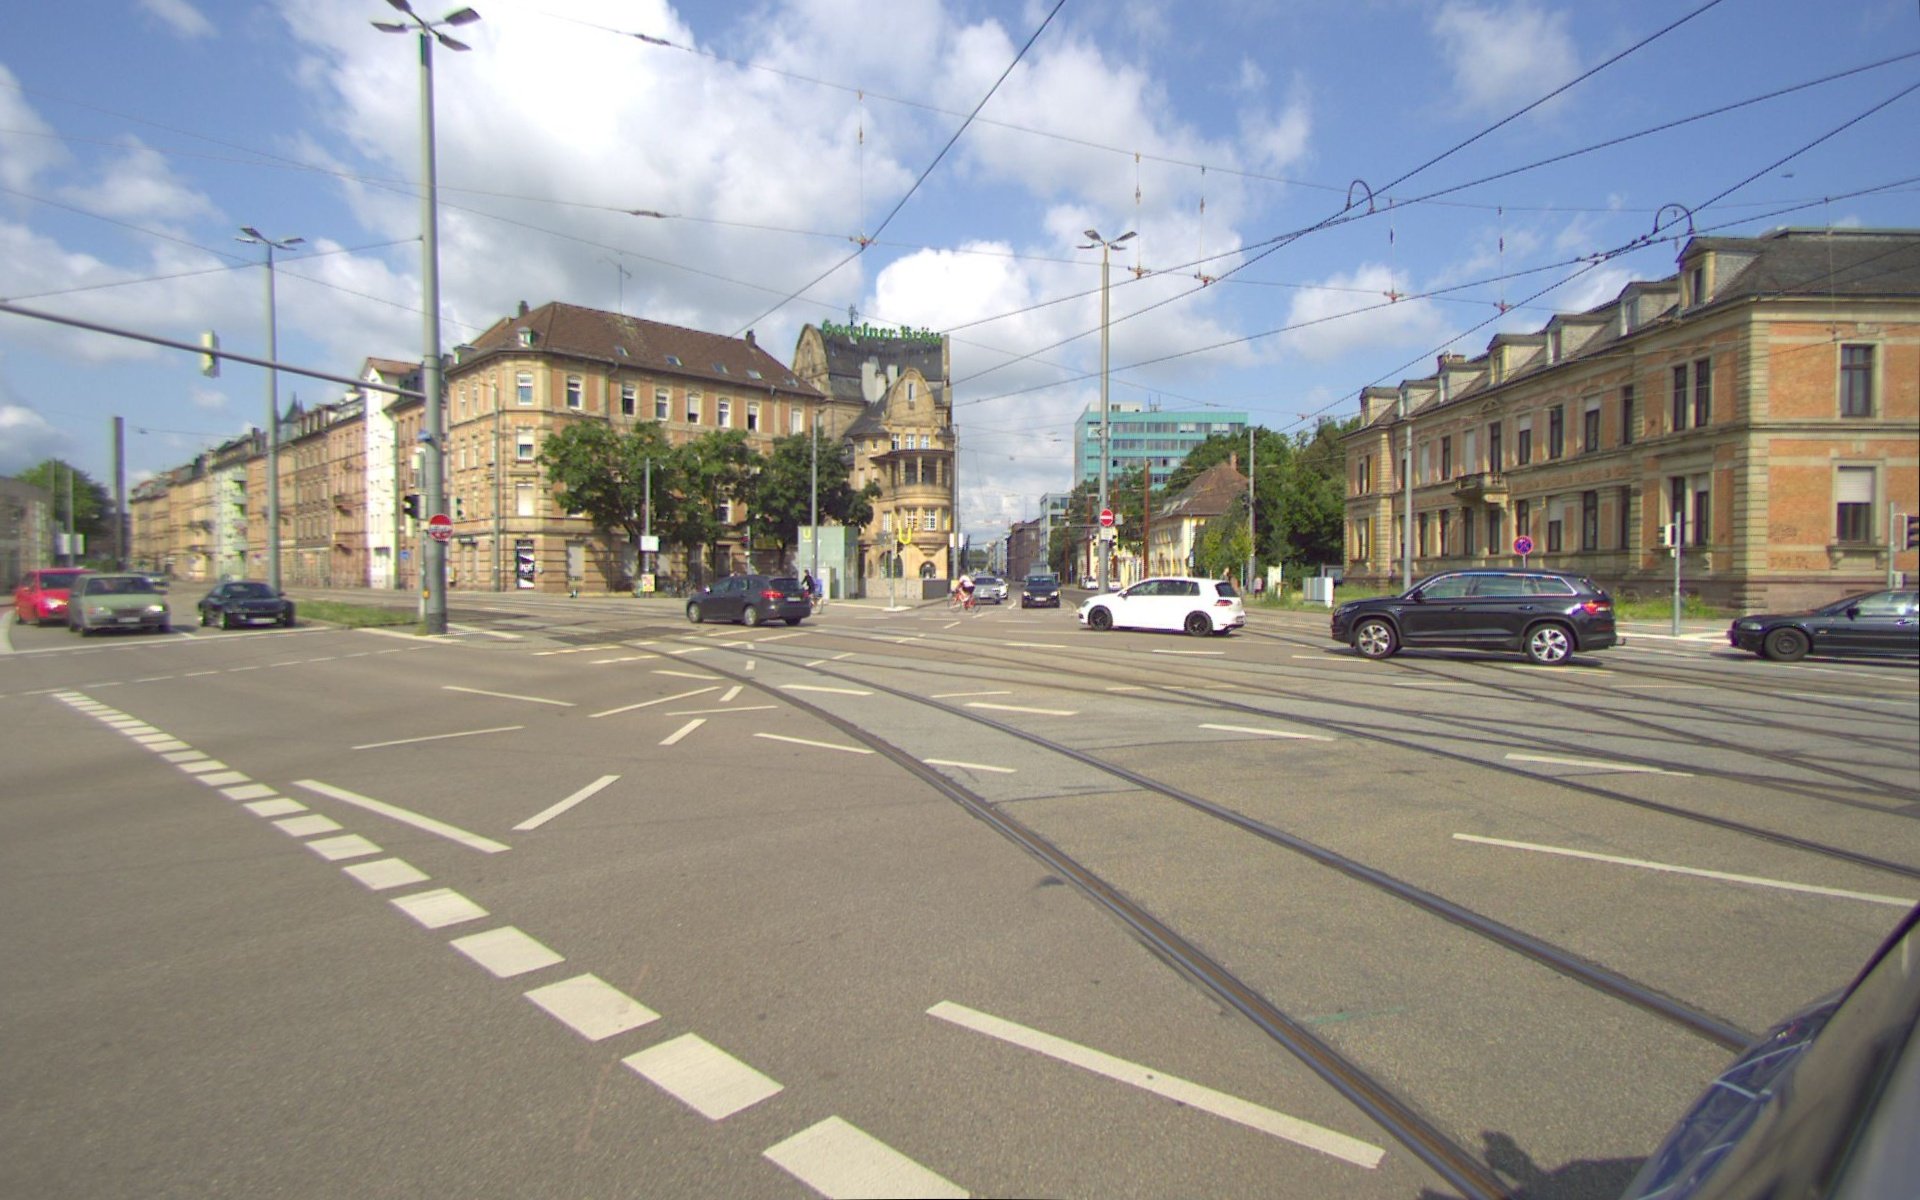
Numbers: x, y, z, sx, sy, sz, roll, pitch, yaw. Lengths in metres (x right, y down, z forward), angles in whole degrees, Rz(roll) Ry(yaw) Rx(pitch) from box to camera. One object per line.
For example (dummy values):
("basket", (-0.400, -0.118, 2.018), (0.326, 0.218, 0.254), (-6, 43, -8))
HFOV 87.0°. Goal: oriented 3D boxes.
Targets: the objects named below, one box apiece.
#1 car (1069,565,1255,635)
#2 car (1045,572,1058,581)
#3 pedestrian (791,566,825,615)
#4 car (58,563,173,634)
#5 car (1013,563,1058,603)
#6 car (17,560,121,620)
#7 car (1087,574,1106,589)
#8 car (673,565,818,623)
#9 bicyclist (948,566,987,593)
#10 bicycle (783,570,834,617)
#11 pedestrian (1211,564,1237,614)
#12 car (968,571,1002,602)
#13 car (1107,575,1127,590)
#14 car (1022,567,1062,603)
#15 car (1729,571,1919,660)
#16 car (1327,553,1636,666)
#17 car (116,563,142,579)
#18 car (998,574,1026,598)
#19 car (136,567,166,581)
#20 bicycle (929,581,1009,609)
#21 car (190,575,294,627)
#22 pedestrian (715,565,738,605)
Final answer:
("car", (5.010, -0.036, 25.299), (4.203, 1.463, 1.664), (4, 2, 34))
("car", (16.960, -4.397, 187.538), (1.879, 1.625, 4.001), (2, 2, 0))
("pedestrian", (-5.884, -0.370, 39.254), (0.976, 1.864, 0.996), (-1, 2, -34))
("car", (-20.255, -0.103, 24.227), (1.797, 1.531, 3.990), (-2, 3, -44))
("car", (3.528, -0.847, 47.881), (1.963, 1.760, 4.340), (0, 2, 2))
("car", (-24.810, -0.340, 28.144), (1.968, 1.537, 3.990), (-2, 3, -44))
("car", (17.800, -2.430, 132.223), (1.879, 1.791, 4.001), (2, 2, 0))
("car", (-6.292, -0.226, 29.545), (4.228, 1.547, 1.751), (2, 2, 35))
("bicyclist", (0.315, -0.798, 39.975), (1.204, 1.040, 0.983), (-1, 0, 29))
("bicycle", (-5.902, -0.282, 39.293), (0.989, 1.746, 2.470), (-1, 3, -34))
("pedestrian", (9.771, -0.424, 37.469), (0.875, 1.832, 0.863), (1, 2, 18))
("car", (1.429, -0.786, 56.910), (1.723, 1.620, 3.998), (0, 2, 4))
("car", (17.682, -2.005, 113.936), (1.724, 1.549, 3.998), (2, 2, 2))
("car", (4.319, -0.849, 53.930), (1.963, 1.614, 4.686), (0, 5, 3))
("car", (16.537, 0.292, 17.850), (4.475, 1.415, 1.977), (3, 2, 32))
("car", (9.240, 0.106, 18.197), (4.645, 1.689, 1.979), (3, 1, 30))
("car", (-88.598, -3.089, 107.890), (1.757, 1.727, 3.989), (-1, 2, -45))
("car", (3.580, -0.996, 69.545), (1.882, 1.526, 3.998), (0, 2, 3))
("car", (-77.390, -2.496, 96.748), (1.966, 1.348, 3.992), (-1, 2, -43))
("bicycle", (0.345, -0.193, 39.957), (3.081, 1.040, 0.986), (-1, 0, 30))
("car", (-18.724, -0.020, 26.321), (1.600, 1.175, 3.990), (-2, 3, -44))
("pedestrian", (-9.915, -0.646, 42.960), (0.697, 1.662, 0.794), (1, 1, 9))
